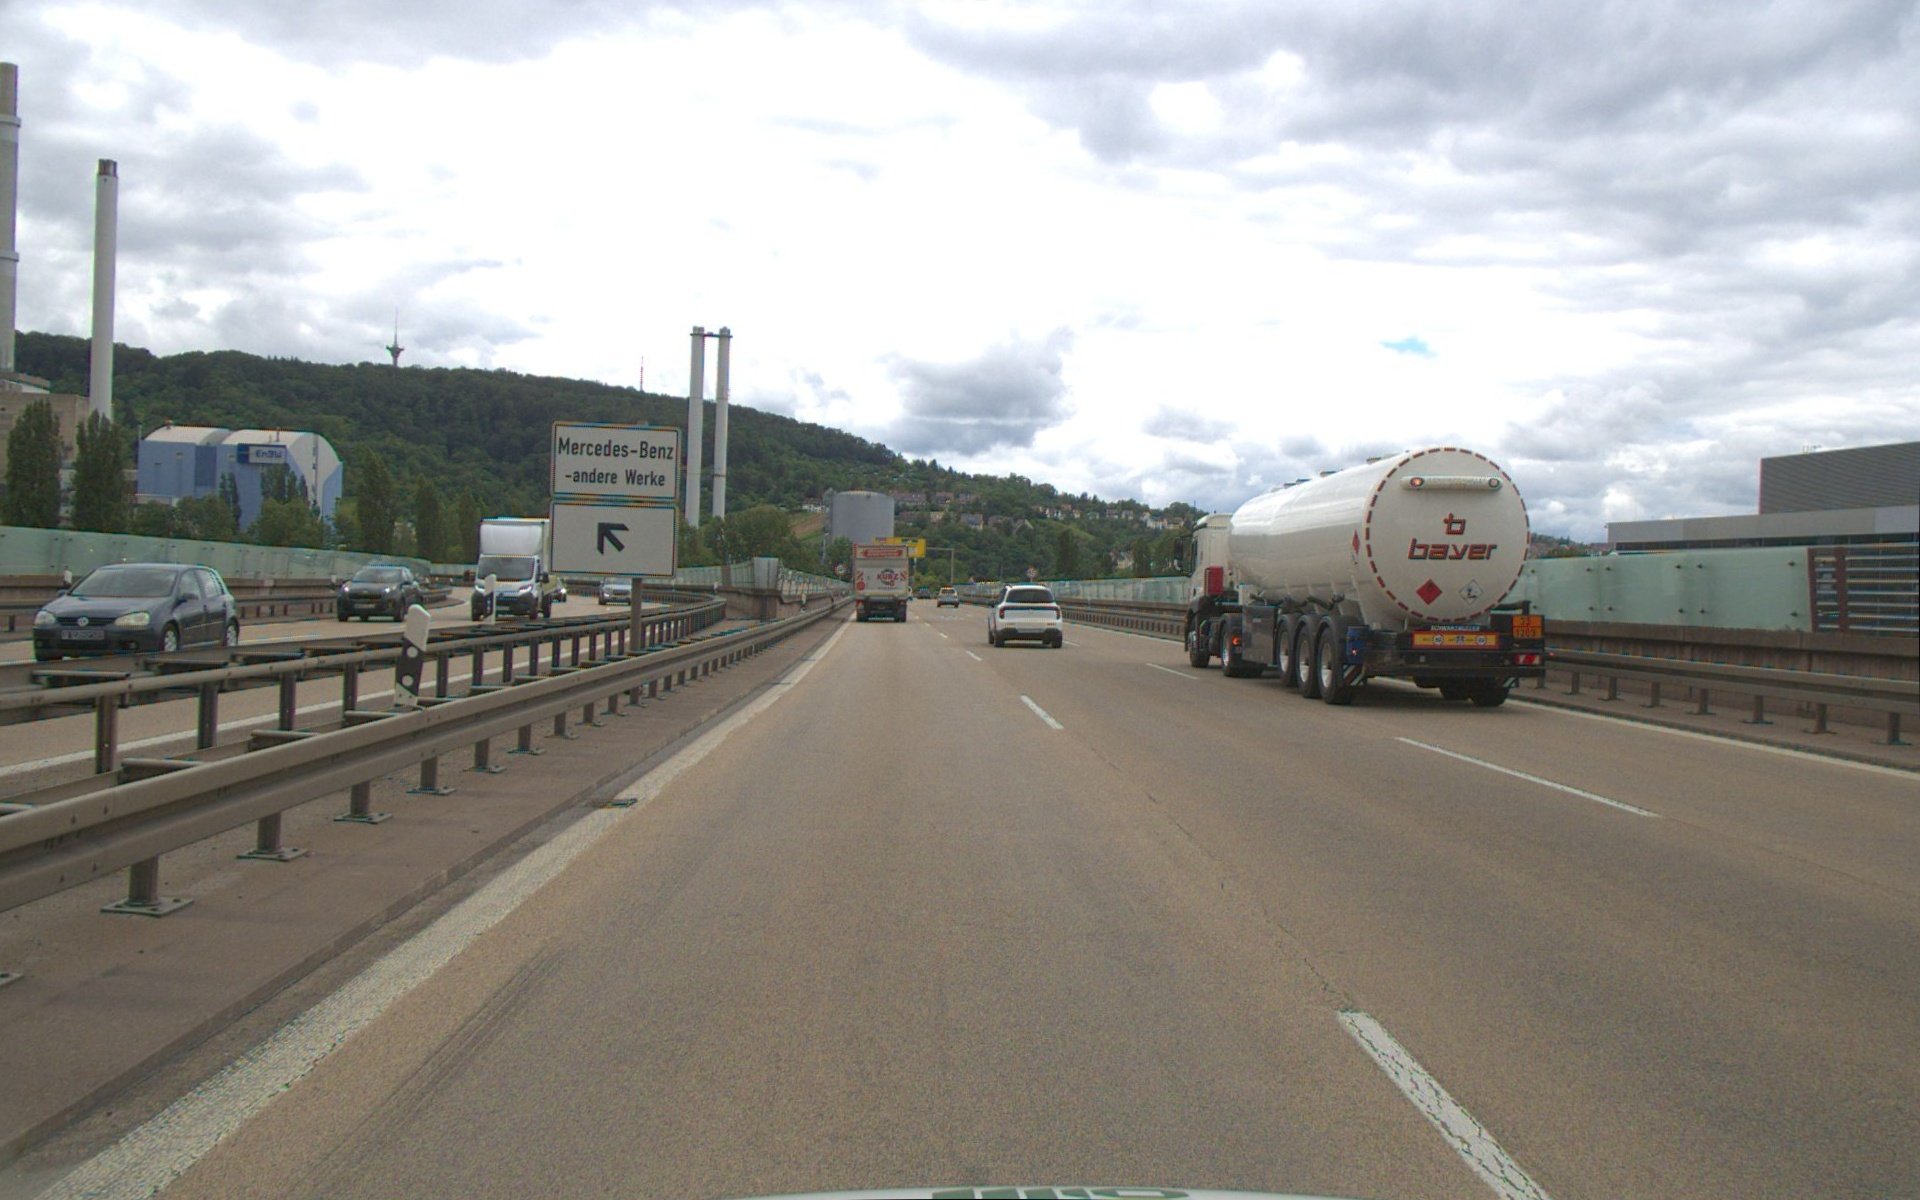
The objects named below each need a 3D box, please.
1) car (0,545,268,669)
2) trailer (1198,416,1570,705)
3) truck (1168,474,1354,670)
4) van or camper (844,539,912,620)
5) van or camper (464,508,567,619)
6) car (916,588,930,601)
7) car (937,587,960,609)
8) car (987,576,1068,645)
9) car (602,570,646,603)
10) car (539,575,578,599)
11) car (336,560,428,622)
[{"bbox_3d":[-12.093,0.073,24.490,1.982,1.639,4.810,0,1,-4],"label":"car"},{"bbox_3d":[6.168,-0.501,26.480,2.597,3.605,11.214,1,0,-3],"label":"trailer"},{"bbox_3d":[5.861,-0.524,32.943,2.578,3.575,4.901,1,0,-3],"label":"truck"},{"bbox_3d":[-3.866,-0.956,80.072,3.059,3.641,8.547,1,0,-2],"label":"van or camper"},{"bbox_3d":[-14.773,-1.161,55.383,2.359,3.447,6.943,1,0,-7],"label":"van or camper"},{"bbox_3d":[-5.427,-0.802,242.616,1.885,1.816,4.111,1,1,-2],"label":"car"},{"bbox_3d":[-0.984,-0.204,143.530,1.884,1.816,4.113,1,1,0],"label":"car"},{"bbox_3d":[1.833,0.257,45.950,1.885,1.816,4.111,1,1,-2],"label":"car"},{"bbox_3d":[-18.081,-0.744,89.202,1.809,1.702,4.403,1,0,-5],"label":"car"},{"bbox_3d":[-24.454,-0.800,100.753,1.726,1.456,4.391,1,1,-6],"label":"car"},{"bbox_3d":[-17.484,-0.298,50.229,1.721,1.778,4.363,1,1,-7],"label":"car"}]
